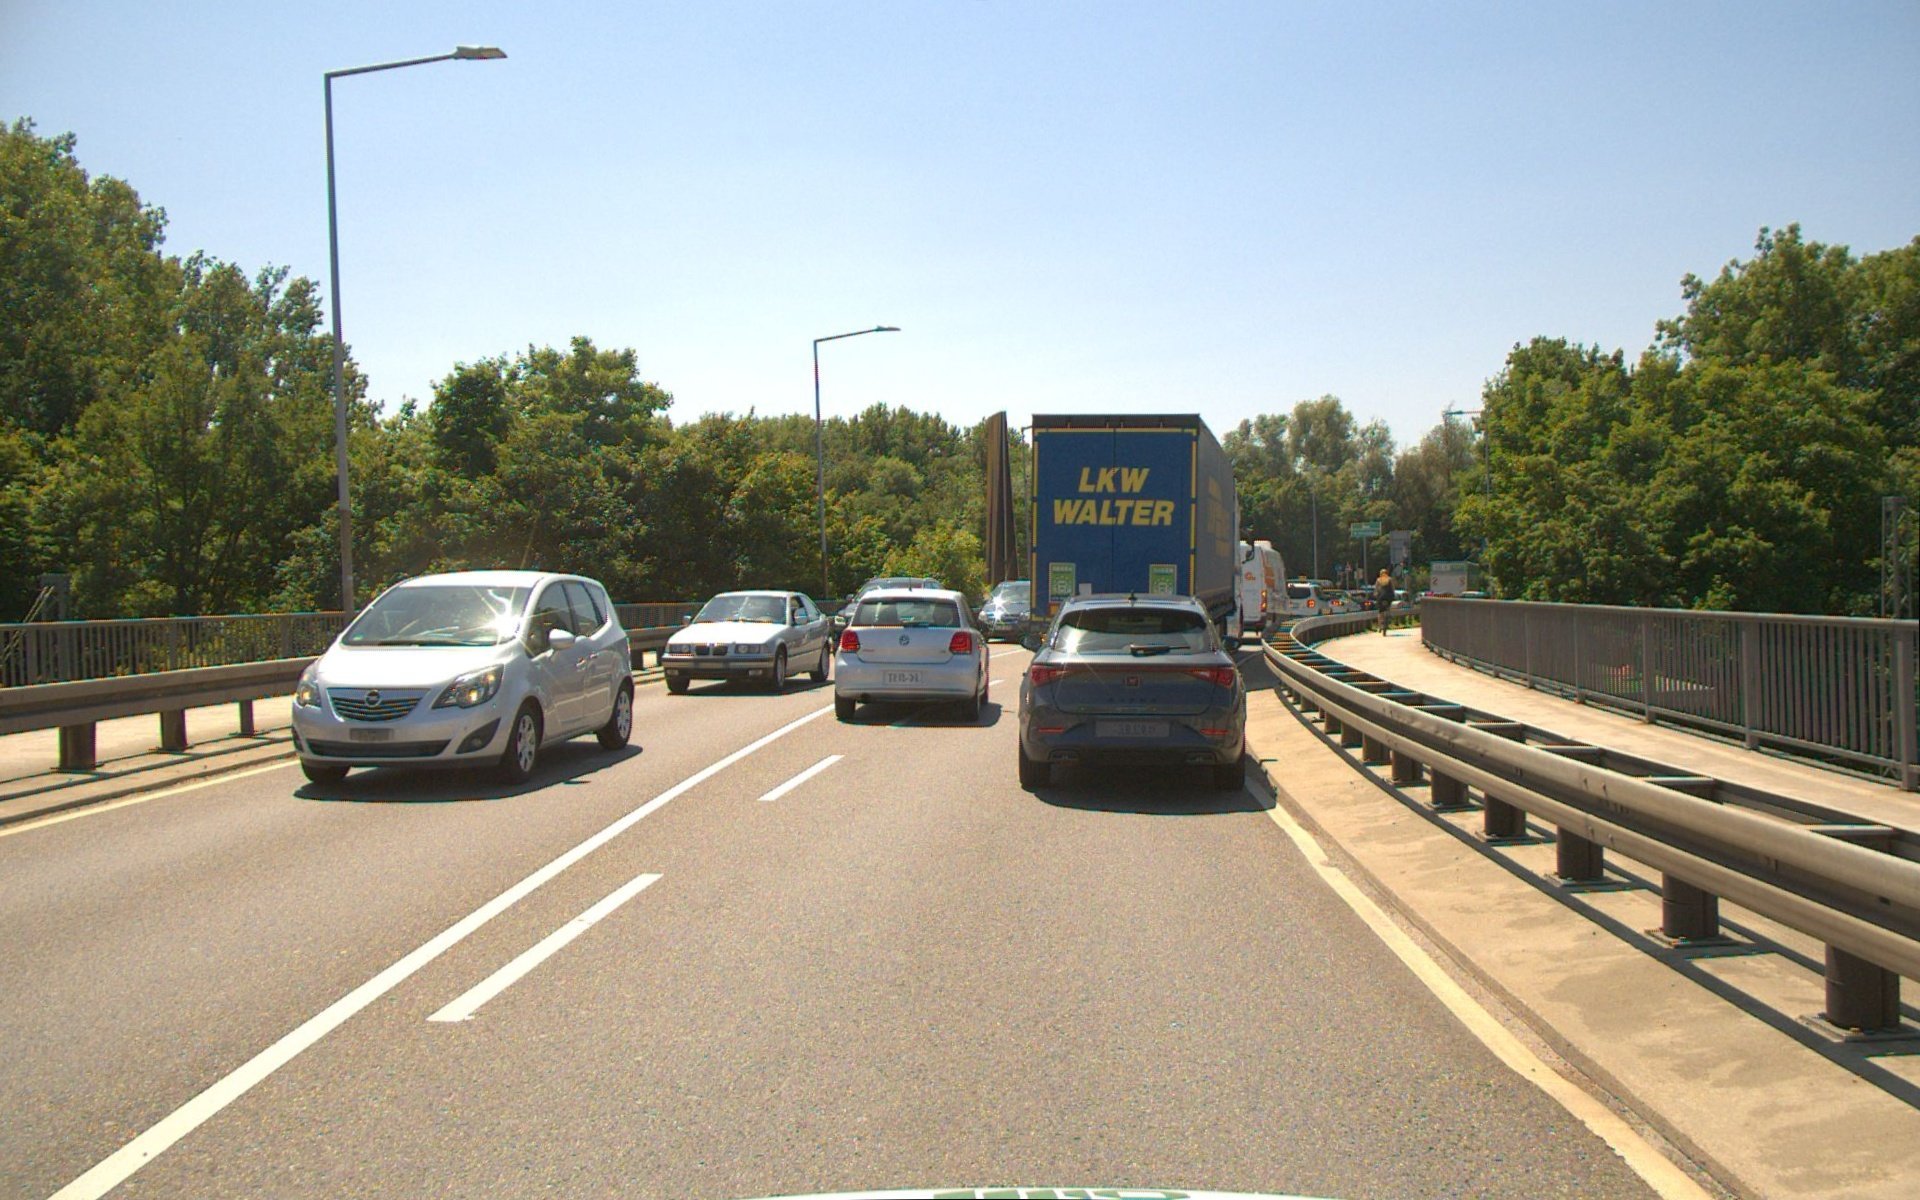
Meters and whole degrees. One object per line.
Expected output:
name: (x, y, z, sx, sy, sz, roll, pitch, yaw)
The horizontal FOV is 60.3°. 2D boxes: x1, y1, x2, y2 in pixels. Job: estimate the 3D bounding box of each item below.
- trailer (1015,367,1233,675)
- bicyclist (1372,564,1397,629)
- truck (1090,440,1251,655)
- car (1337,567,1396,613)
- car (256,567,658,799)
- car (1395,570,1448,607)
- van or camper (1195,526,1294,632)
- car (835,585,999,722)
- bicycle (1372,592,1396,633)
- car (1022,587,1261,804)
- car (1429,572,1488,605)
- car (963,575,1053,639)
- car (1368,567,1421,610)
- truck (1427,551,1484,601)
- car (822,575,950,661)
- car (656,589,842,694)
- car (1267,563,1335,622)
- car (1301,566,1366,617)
trailer: (3.409, -1.249, 30.549, 2.842, 4.495, 12.445, 0, 1, 11)
bicyclist: (11.447, -0.106, 44.618, 0.565, 1.712, 0.730, -3, 0, 15)
truck: (5.001, -1.159, 38.173, 2.843, 4.495, 6.561, 1, 1, 15)
car: (16.984, -0.446, 69.054, 1.686, 1.876, 3.998, 0, 1, 24)
car: (-3.905, 0.565, 13.640, 1.700, 1.607, 4.179, 0, 0, 5)
car: (22.732, -0.546, 81.435, 1.653, 1.791, 3.994, 0, 0, 29)
van or camper: (8.276, -0.612, 47.676, 2.108, 2.864, 6.391, 0, 1, 16)
car: (-0.418, 0.559, 19.848, 1.642, 1.435, 3.977, 1, 1, 3)
bicycle: (11.454, 0.329, 44.616, 0.569, 1.053, 1.486, -3, 0, 15)
car: (1.436, 0.641, 13.412, 1.641, 1.481, 3.961, 0, 1, 5)
car: (26.392, -0.592, 87.504, 1.958, 1.602, 3.990, 2, 0, 32)
car: (1.359, 0.158, 45.046, 1.670, 1.654, 4.256, 1, 1, 13)
car: (19.738, -0.552, 75.098, 1.686, 1.876, 3.998, 0, 1, 24)
truck: (29.552, -1.431, 98.555, 2.289, 2.924, 5.936, 0, 1, 26)
car: (-1.473, 0.325, 34.557, 1.762, 1.669, 4.304, 0, 1, 10)
car: (-2.983, 0.546, 24.193, 1.660, 1.400, 4.003, -1, 0, 9)
car: (11.441, -0.292, 55.337, 1.685, 1.876, 4.002, 0, 1, 19)
car: (13.926, -0.340, 61.510, 1.686, 1.834, 3.999, 0, 1, 23)
